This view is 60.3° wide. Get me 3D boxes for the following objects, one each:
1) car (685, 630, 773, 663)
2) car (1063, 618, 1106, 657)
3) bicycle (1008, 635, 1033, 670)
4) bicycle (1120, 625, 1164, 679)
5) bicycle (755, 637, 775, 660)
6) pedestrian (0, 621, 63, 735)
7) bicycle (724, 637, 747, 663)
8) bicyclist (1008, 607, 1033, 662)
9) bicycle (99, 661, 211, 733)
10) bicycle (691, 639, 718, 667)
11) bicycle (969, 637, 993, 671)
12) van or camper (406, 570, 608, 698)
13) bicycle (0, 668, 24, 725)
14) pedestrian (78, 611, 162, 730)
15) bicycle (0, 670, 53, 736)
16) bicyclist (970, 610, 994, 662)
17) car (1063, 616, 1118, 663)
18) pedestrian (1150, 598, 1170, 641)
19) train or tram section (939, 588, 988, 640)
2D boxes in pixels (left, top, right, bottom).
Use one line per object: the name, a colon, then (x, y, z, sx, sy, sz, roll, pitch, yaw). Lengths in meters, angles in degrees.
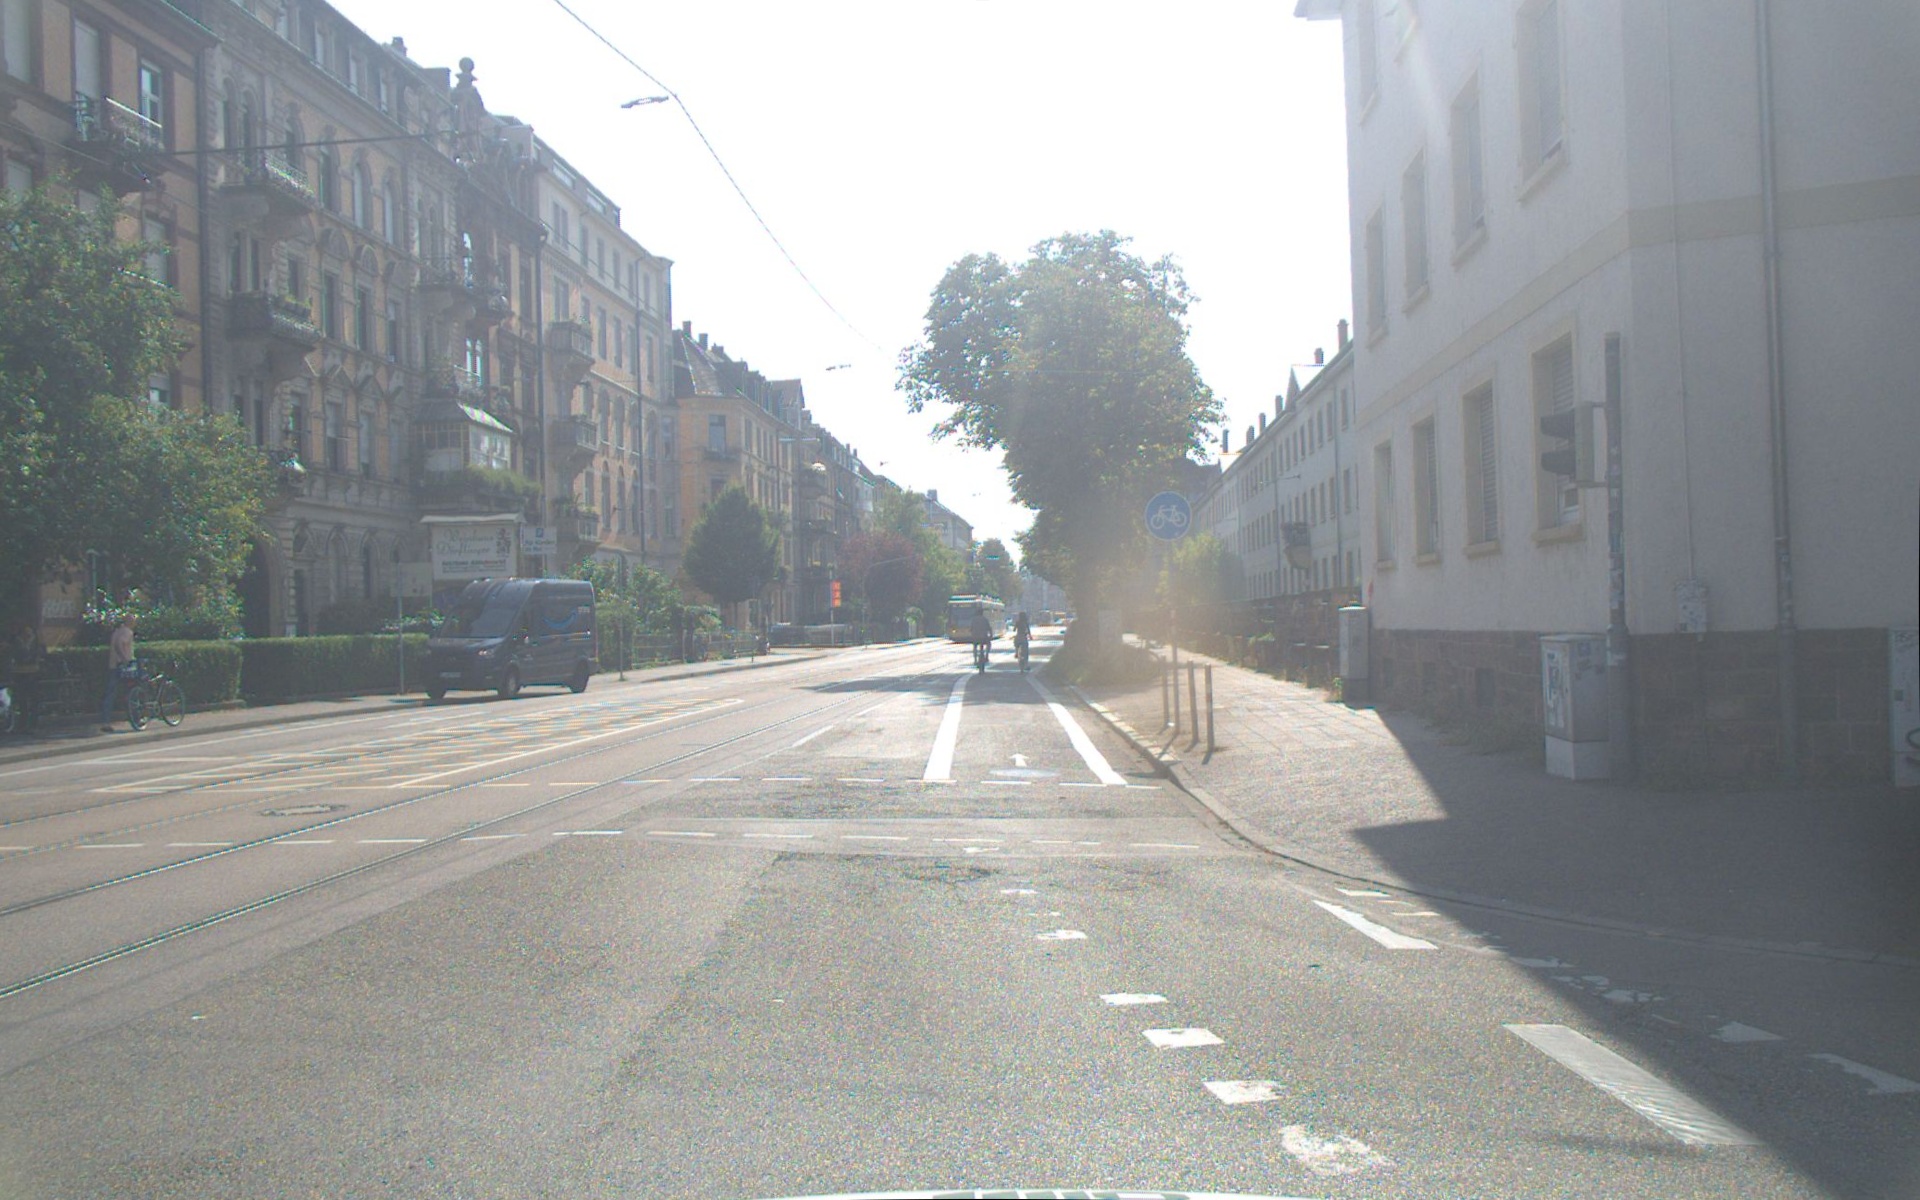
car: (-11.597, 2.343, 83.140, 4.050, 1.570, 2.065, -1, -2, 3)
car: (5.128, 1.537, 68.126, 1.611, 1.473, 4.248, -4, -1, 4)
bicycle: (1.654, 1.428, 45.355, 0.640, 0.925, 1.775, 0, -1, 3)
bicycle: (4.041, 1.136, 36.777, 0.755, 1.123, 2.334, -2, -1, 2)
bicycle: (-9.364, 2.331, 79.515, 0.533, 1.077, 1.840, 2, -1, 6)
pedestrian: (-14.368, 1.195, 25.605, 0.625, 1.708, 0.632, -2, -1, -8)
bicycle: (-9.850, 2.182, 72.505, 0.533, 1.077, 1.840, 2, -1, 6)
bicyclist: (1.662, 0.940, 45.349, 0.640, 1.500, 0.909, 0, -1, 3)
bicycle: (-12.867, 1.528, 26.498, 0.605, 1.024, 2.151, -2, -1, 4)
bicycle: (-10.281, 2.133, 66.584, 0.594, 1.077, 1.840, 2, -1, 6)
bicycle: (0.588, 1.482, 45.715, 0.613, 0.925, 1.525, 0, -1, 3)
van or camper: (-10.435, 0.790, 38.730, 2.006, 2.691, 6.094, -3, -2, 11)
bicycle: (-15.776, 1.537, 26.154, 1.661, 0.875, 0.528, -2, -1, 4)
pedestrian: (-13.333, 1.103, 26.275, 0.712, 1.838, 1.093, -2, -1, 3)
bicycle: (-14.560, 1.569, 25.060, 0.515, 0.944, 1.704, -2, -1, 7)
bicyclist: (0.607, 0.986, 45.738, 0.613, 1.425, 0.930, 0, -1, 3)
car: (4.808, 1.439, 60.528, 1.610, 1.567, 3.845, -4, -1, 9)
pedestrian: (8.368, 0.805, 69.199, 0.736, 1.779, 0.879, -2, -1, 10)
train or tram section: (0.367, 1.107, 123.941, 2.677, 3.567, 15.438, -1, -1, 4)
